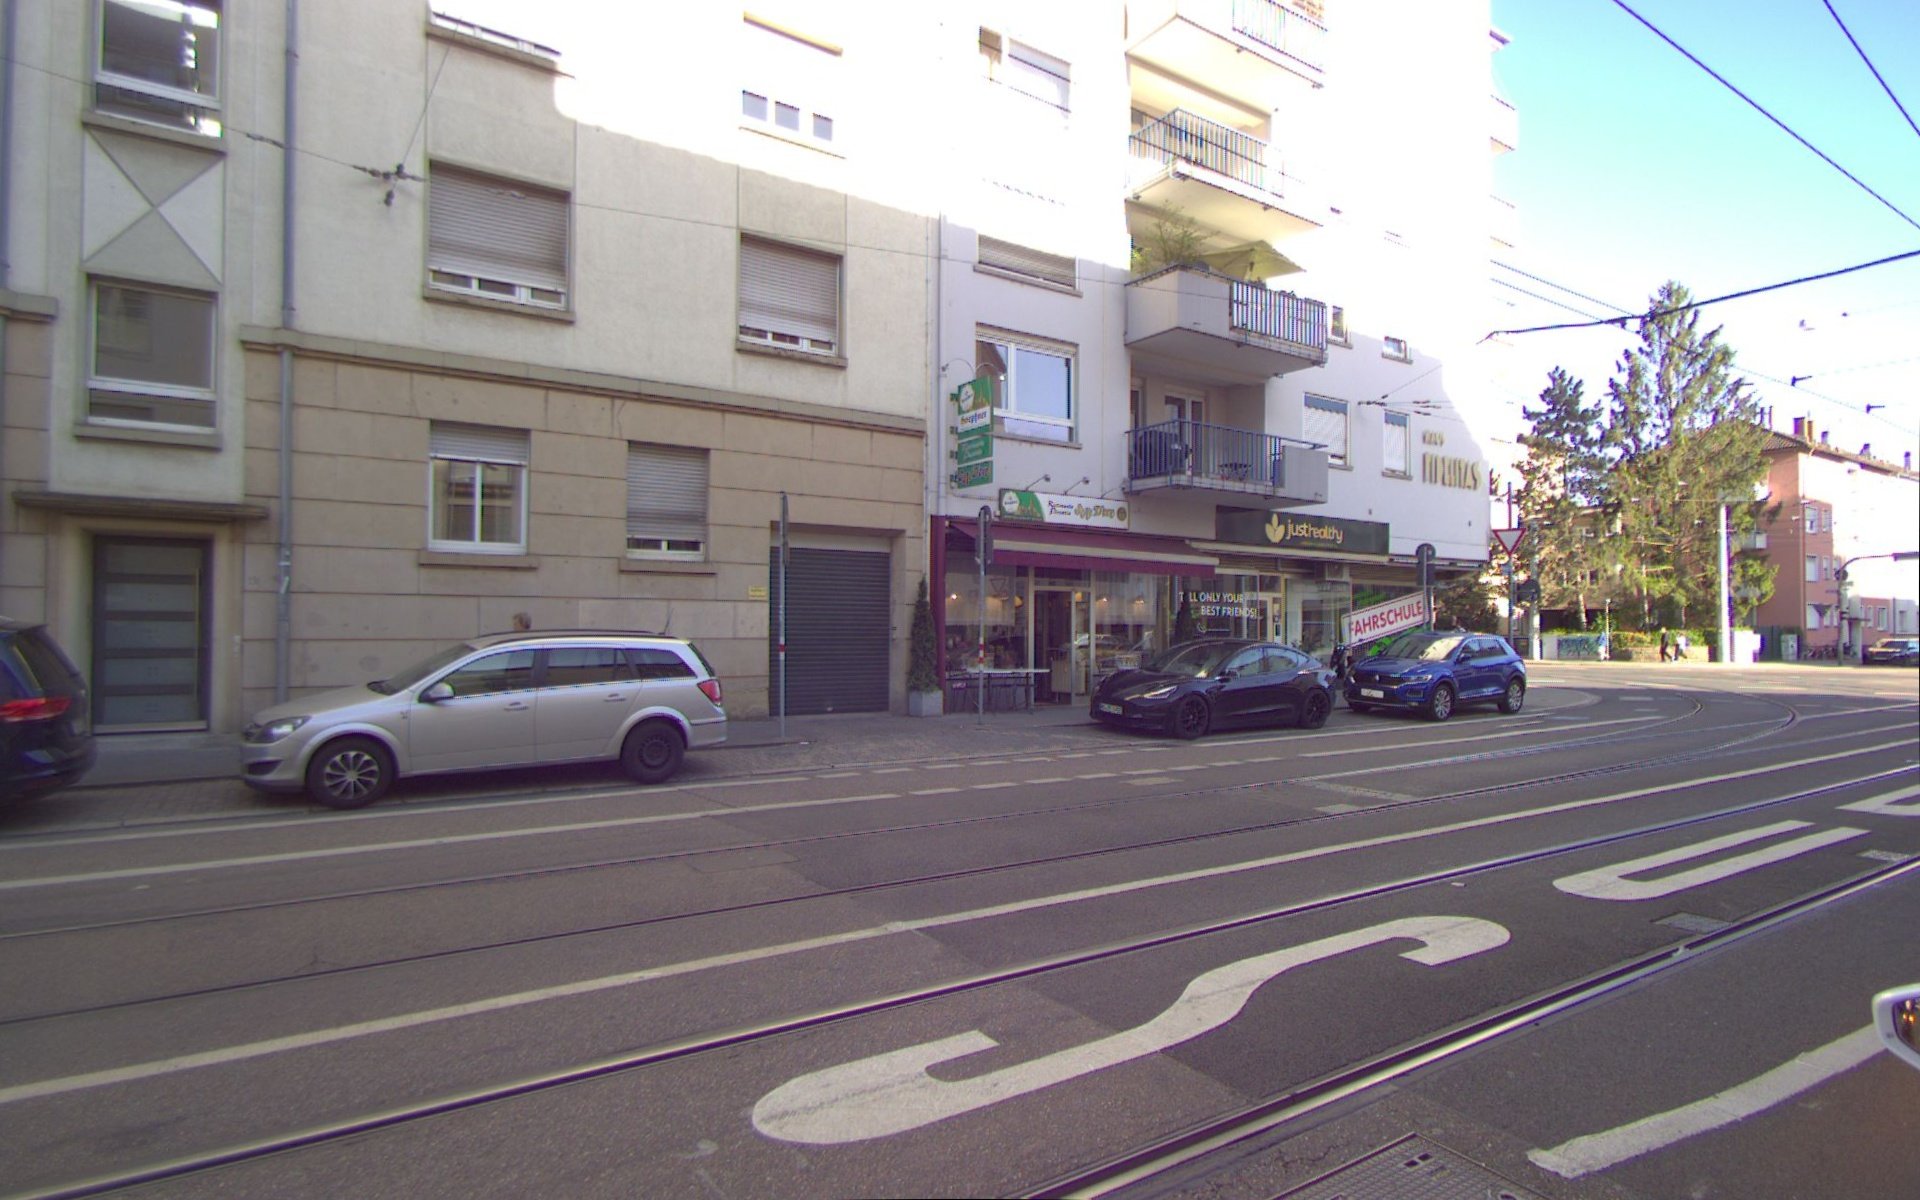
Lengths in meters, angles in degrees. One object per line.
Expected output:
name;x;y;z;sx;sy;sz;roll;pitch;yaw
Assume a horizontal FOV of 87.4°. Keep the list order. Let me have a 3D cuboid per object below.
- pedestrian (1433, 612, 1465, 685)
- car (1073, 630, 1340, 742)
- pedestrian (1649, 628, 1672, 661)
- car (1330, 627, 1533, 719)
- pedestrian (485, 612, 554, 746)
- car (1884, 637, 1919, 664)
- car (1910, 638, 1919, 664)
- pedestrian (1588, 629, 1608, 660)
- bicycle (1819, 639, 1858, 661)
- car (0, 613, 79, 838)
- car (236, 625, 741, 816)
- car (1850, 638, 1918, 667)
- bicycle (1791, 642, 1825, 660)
pedestrian;13.934;1.375;28.634;0.480;2.040;0.683;1;-1;-30
car;3.986;1.298;16.005;4.267;1.529;1.689;2;-1;-34
pedestrian;36.664;2.313;52.591;0.722;1.713;0.847;0;-1;13
car;8.990;1.322;19.075;3.959;1.529;1.733;2;-1;-35
pedestrian;-5.399;0.940;12.297;0.713;1.569;0.694;0;-1;-30
car;54.250;2.848;56.947;3.959;1.517;1.899;1;-2;-34
car;58.078;2.993;59.459;3.959;1.517;1.899;1;-2;-34
pedestrian;34.557;2.419;54.417;0.835;1.647;0.515;-1;-2;27
bicycle;51.944;2.925;59.372;3.267;1.241;0.844;1;-2;-32
car;-9.118;0.888;7.046;4.202;1.637;1.688;2;-1;-36
car;-4.609;1.080;10.209;4.341;1.529;1.689;2;-1;-34
car;49.513;2.781;53.820;3.961;1.452;1.898;1;-2;-36
bicycle;47.052;2.796;55.729;2.568;0.964;0.729;1;-2;-32
